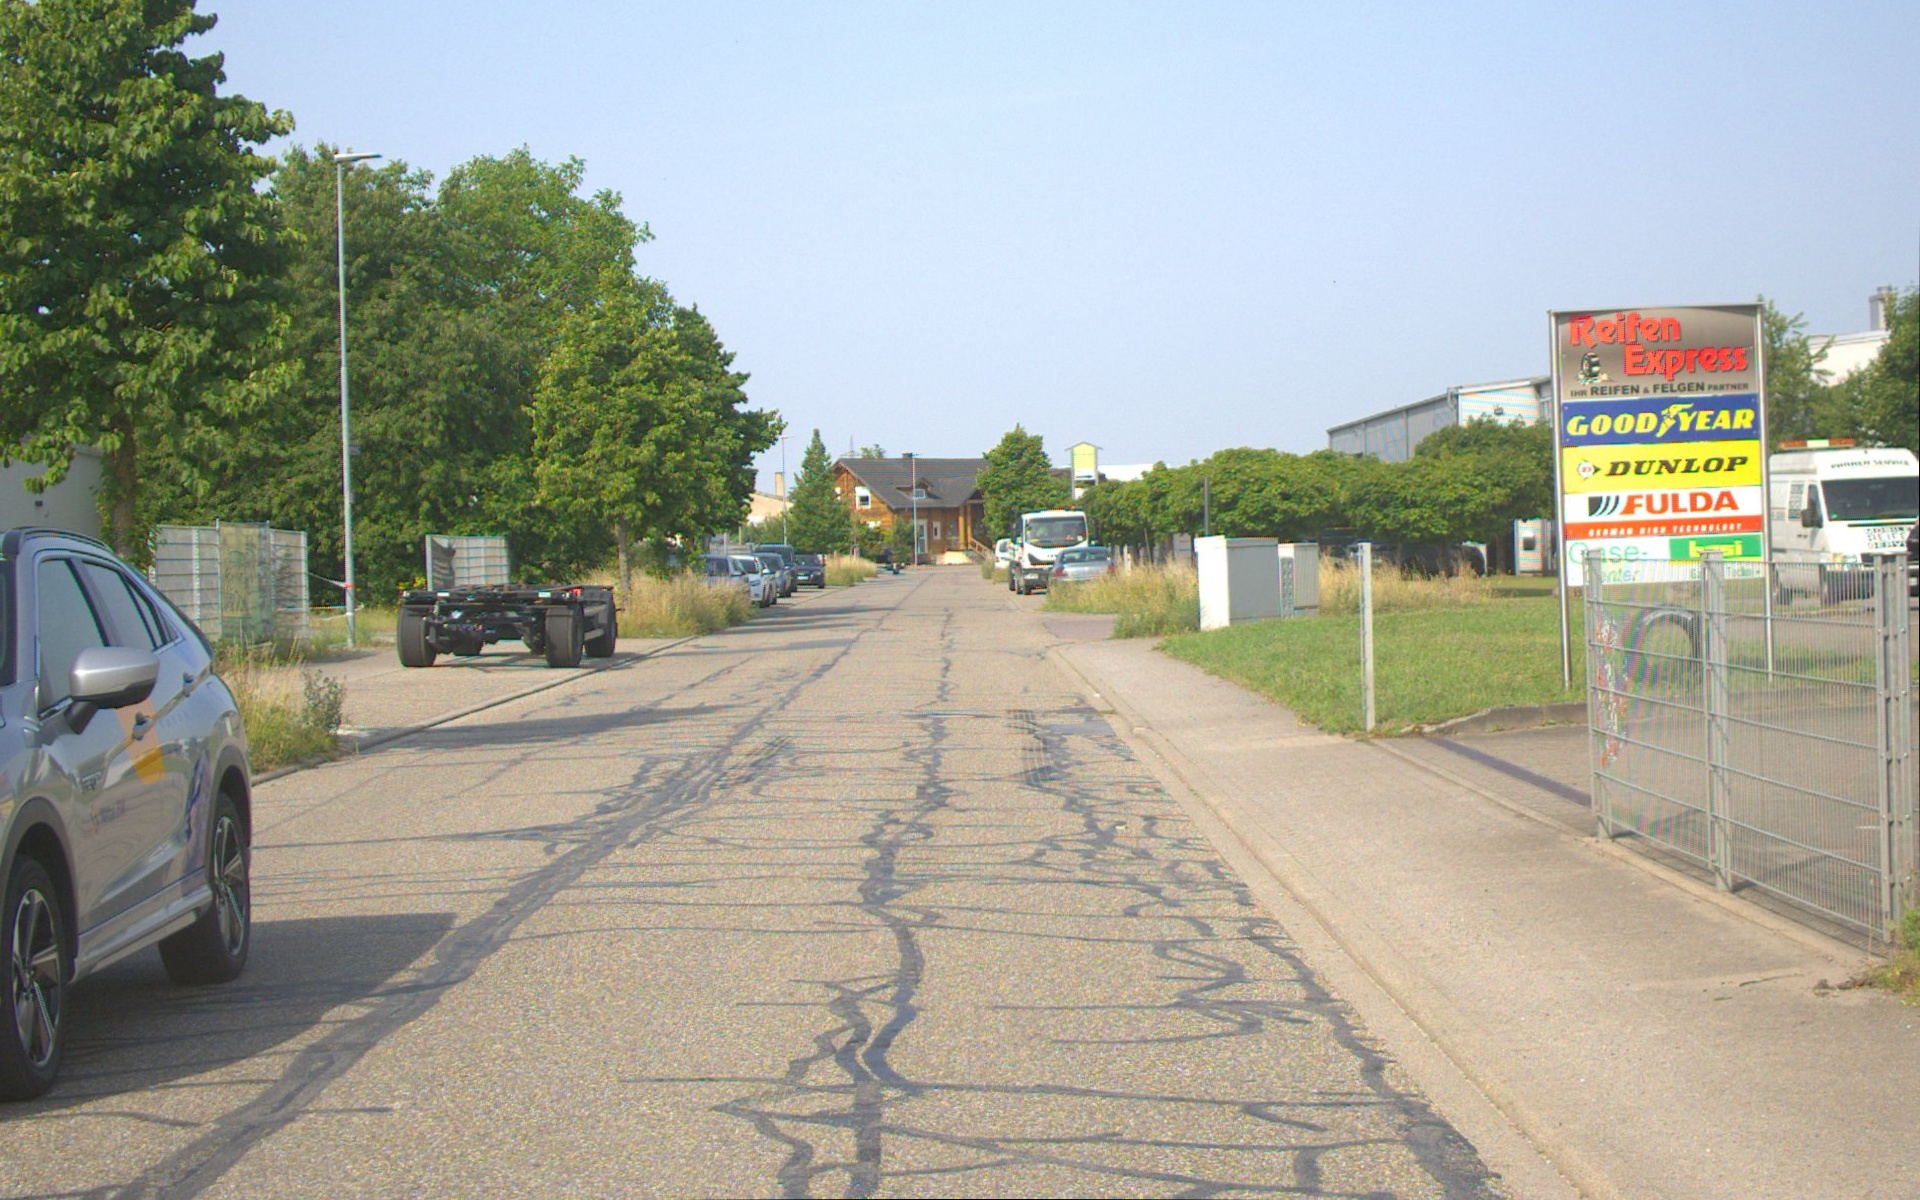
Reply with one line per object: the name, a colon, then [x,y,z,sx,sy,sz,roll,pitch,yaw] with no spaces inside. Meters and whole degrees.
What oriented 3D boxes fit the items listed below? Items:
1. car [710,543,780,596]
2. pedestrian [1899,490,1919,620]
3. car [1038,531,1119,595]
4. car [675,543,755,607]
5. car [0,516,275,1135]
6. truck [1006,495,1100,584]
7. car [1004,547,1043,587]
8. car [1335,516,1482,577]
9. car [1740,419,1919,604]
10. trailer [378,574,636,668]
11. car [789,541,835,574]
car: [-6.034,-0.875,96.862,1.683,1.464,4.254,0,1,0]
pedestrian: [12.354,-0.579,43.436,0.704,1.634,0.747,-1,1,35]
car: [2.952,-0.940,86.302,1.794,1.512,4.424,-2,1,0]
car: [-6.206,-0.646,87.517,1.566,1.533,3.688,-2,1,3]
car: [-3.460,0.591,10.651,1.811,1.621,4.249,-2,1,-1]
truck: [2.940,-1.936,110.037,2.359,2.672,6.512,-2,1,-3]
car: [3.162,-1.675,172.207,1.837,1.917,3.756,-2,1,0]
car: [12.852,-1.537,98.341,4.522,1.583,1.686,-3,1,-44]
car: [13.832,-1.356,53.420,1.974,2.696,5.881,-2,1,0]
trailer: [-6.426,0.243,50.117,2.582,1.180,9.363,0,1,0]
car: [-6.260,-1.814,145.685,1.800,1.382,3.638,0,1,-1]
